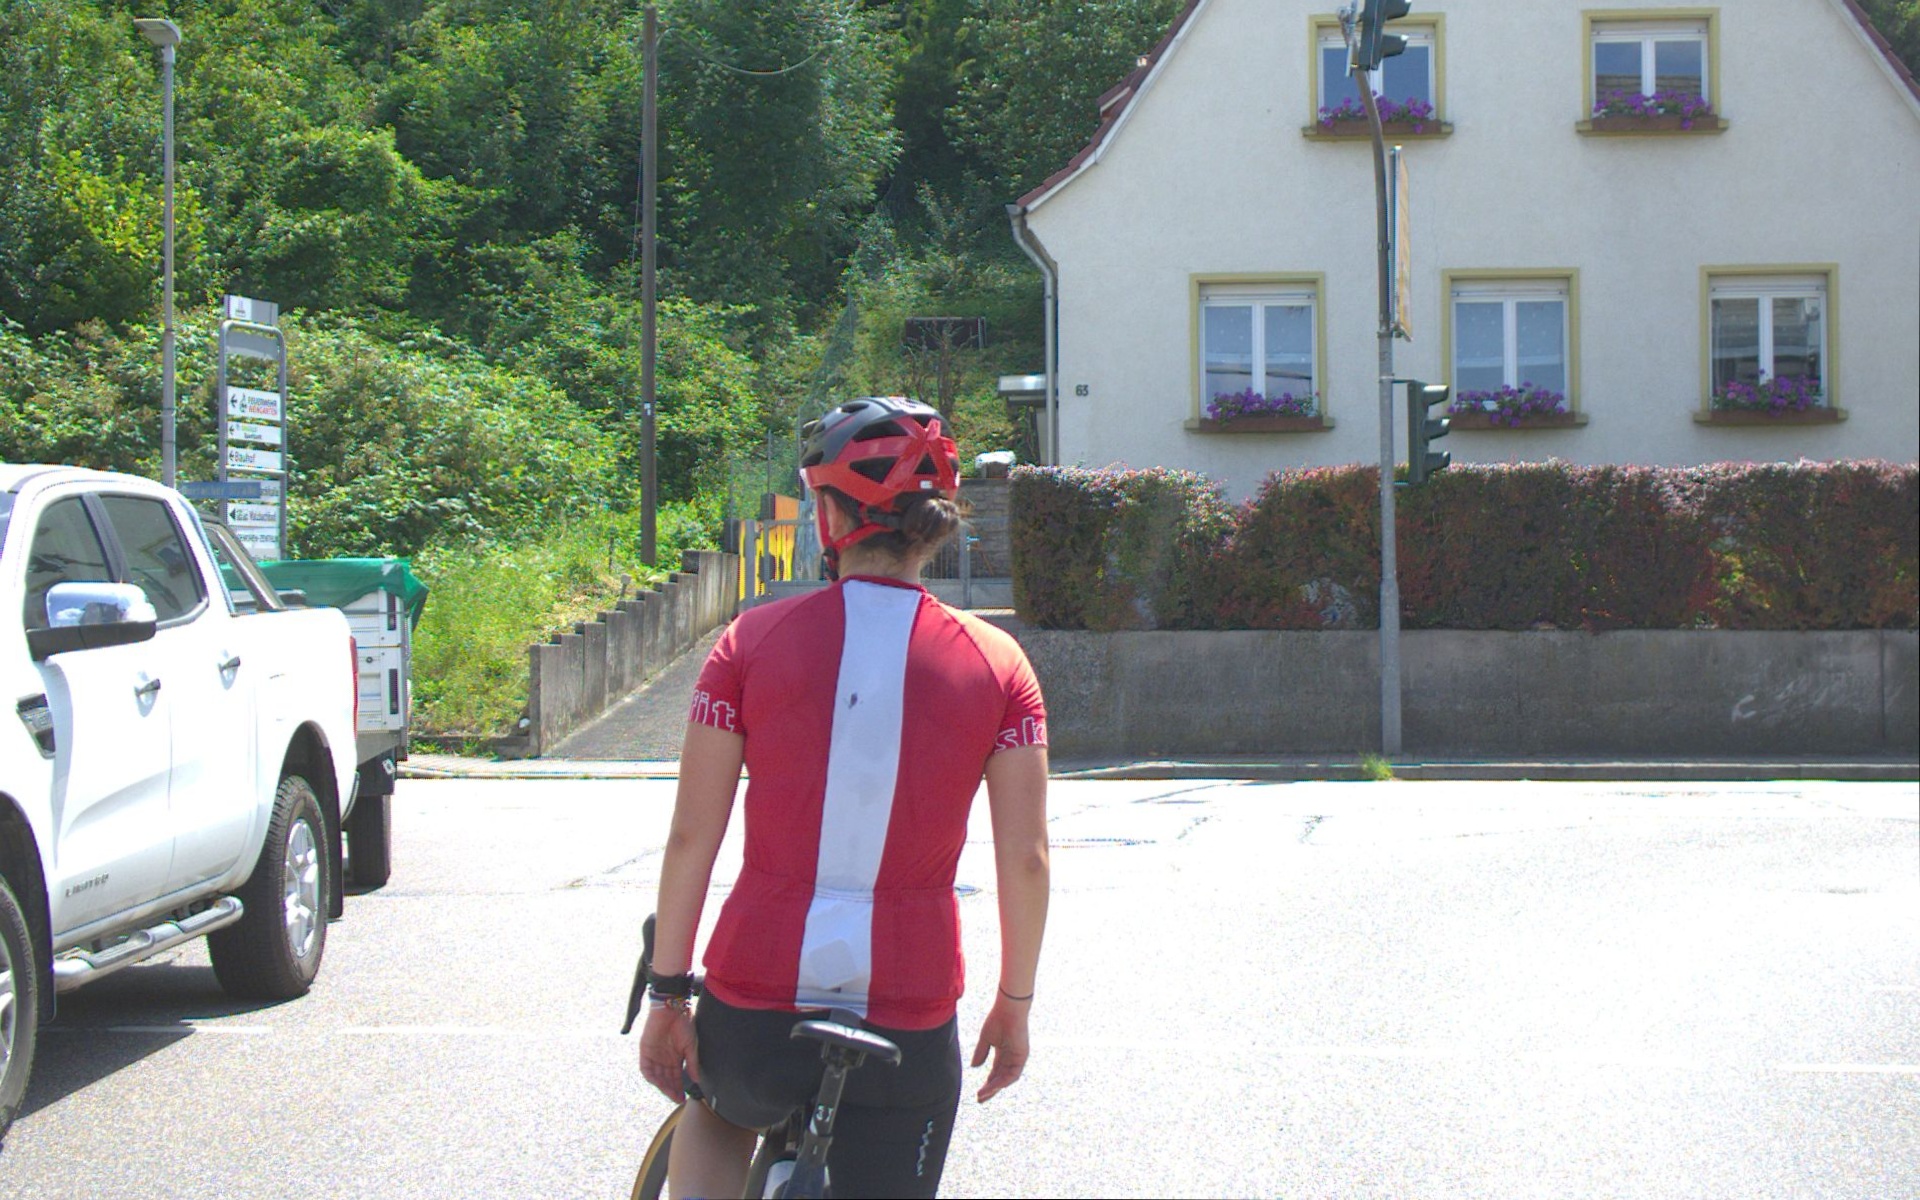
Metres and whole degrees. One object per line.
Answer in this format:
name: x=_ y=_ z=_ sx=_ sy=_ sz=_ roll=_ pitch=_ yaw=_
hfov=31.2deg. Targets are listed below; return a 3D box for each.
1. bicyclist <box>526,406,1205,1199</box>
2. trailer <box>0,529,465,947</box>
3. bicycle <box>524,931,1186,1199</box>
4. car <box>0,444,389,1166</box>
bicyclist: x=-0.166 y=0.601 z=4.559 sx=0.760 sy=1.659 sz=0.869 roll=1 pitch=1 yaw=-10
trailer: x=-3.226 y=0.496 z=15.197 sx=1.972 sy=1.534 sz=4.446 roll=-1 pitch=1 yaw=-8
bicycle: x=-0.216 y=0.976 z=4.504 sx=0.629 sy=0.902 sz=1.657 roll=1 pitch=1 yaw=-10
car: x=-3.263 y=0.496 z=10.146 sx=1.972 sy=1.769 sz=5.314 roll=-1 pitch=1 yaw=3
